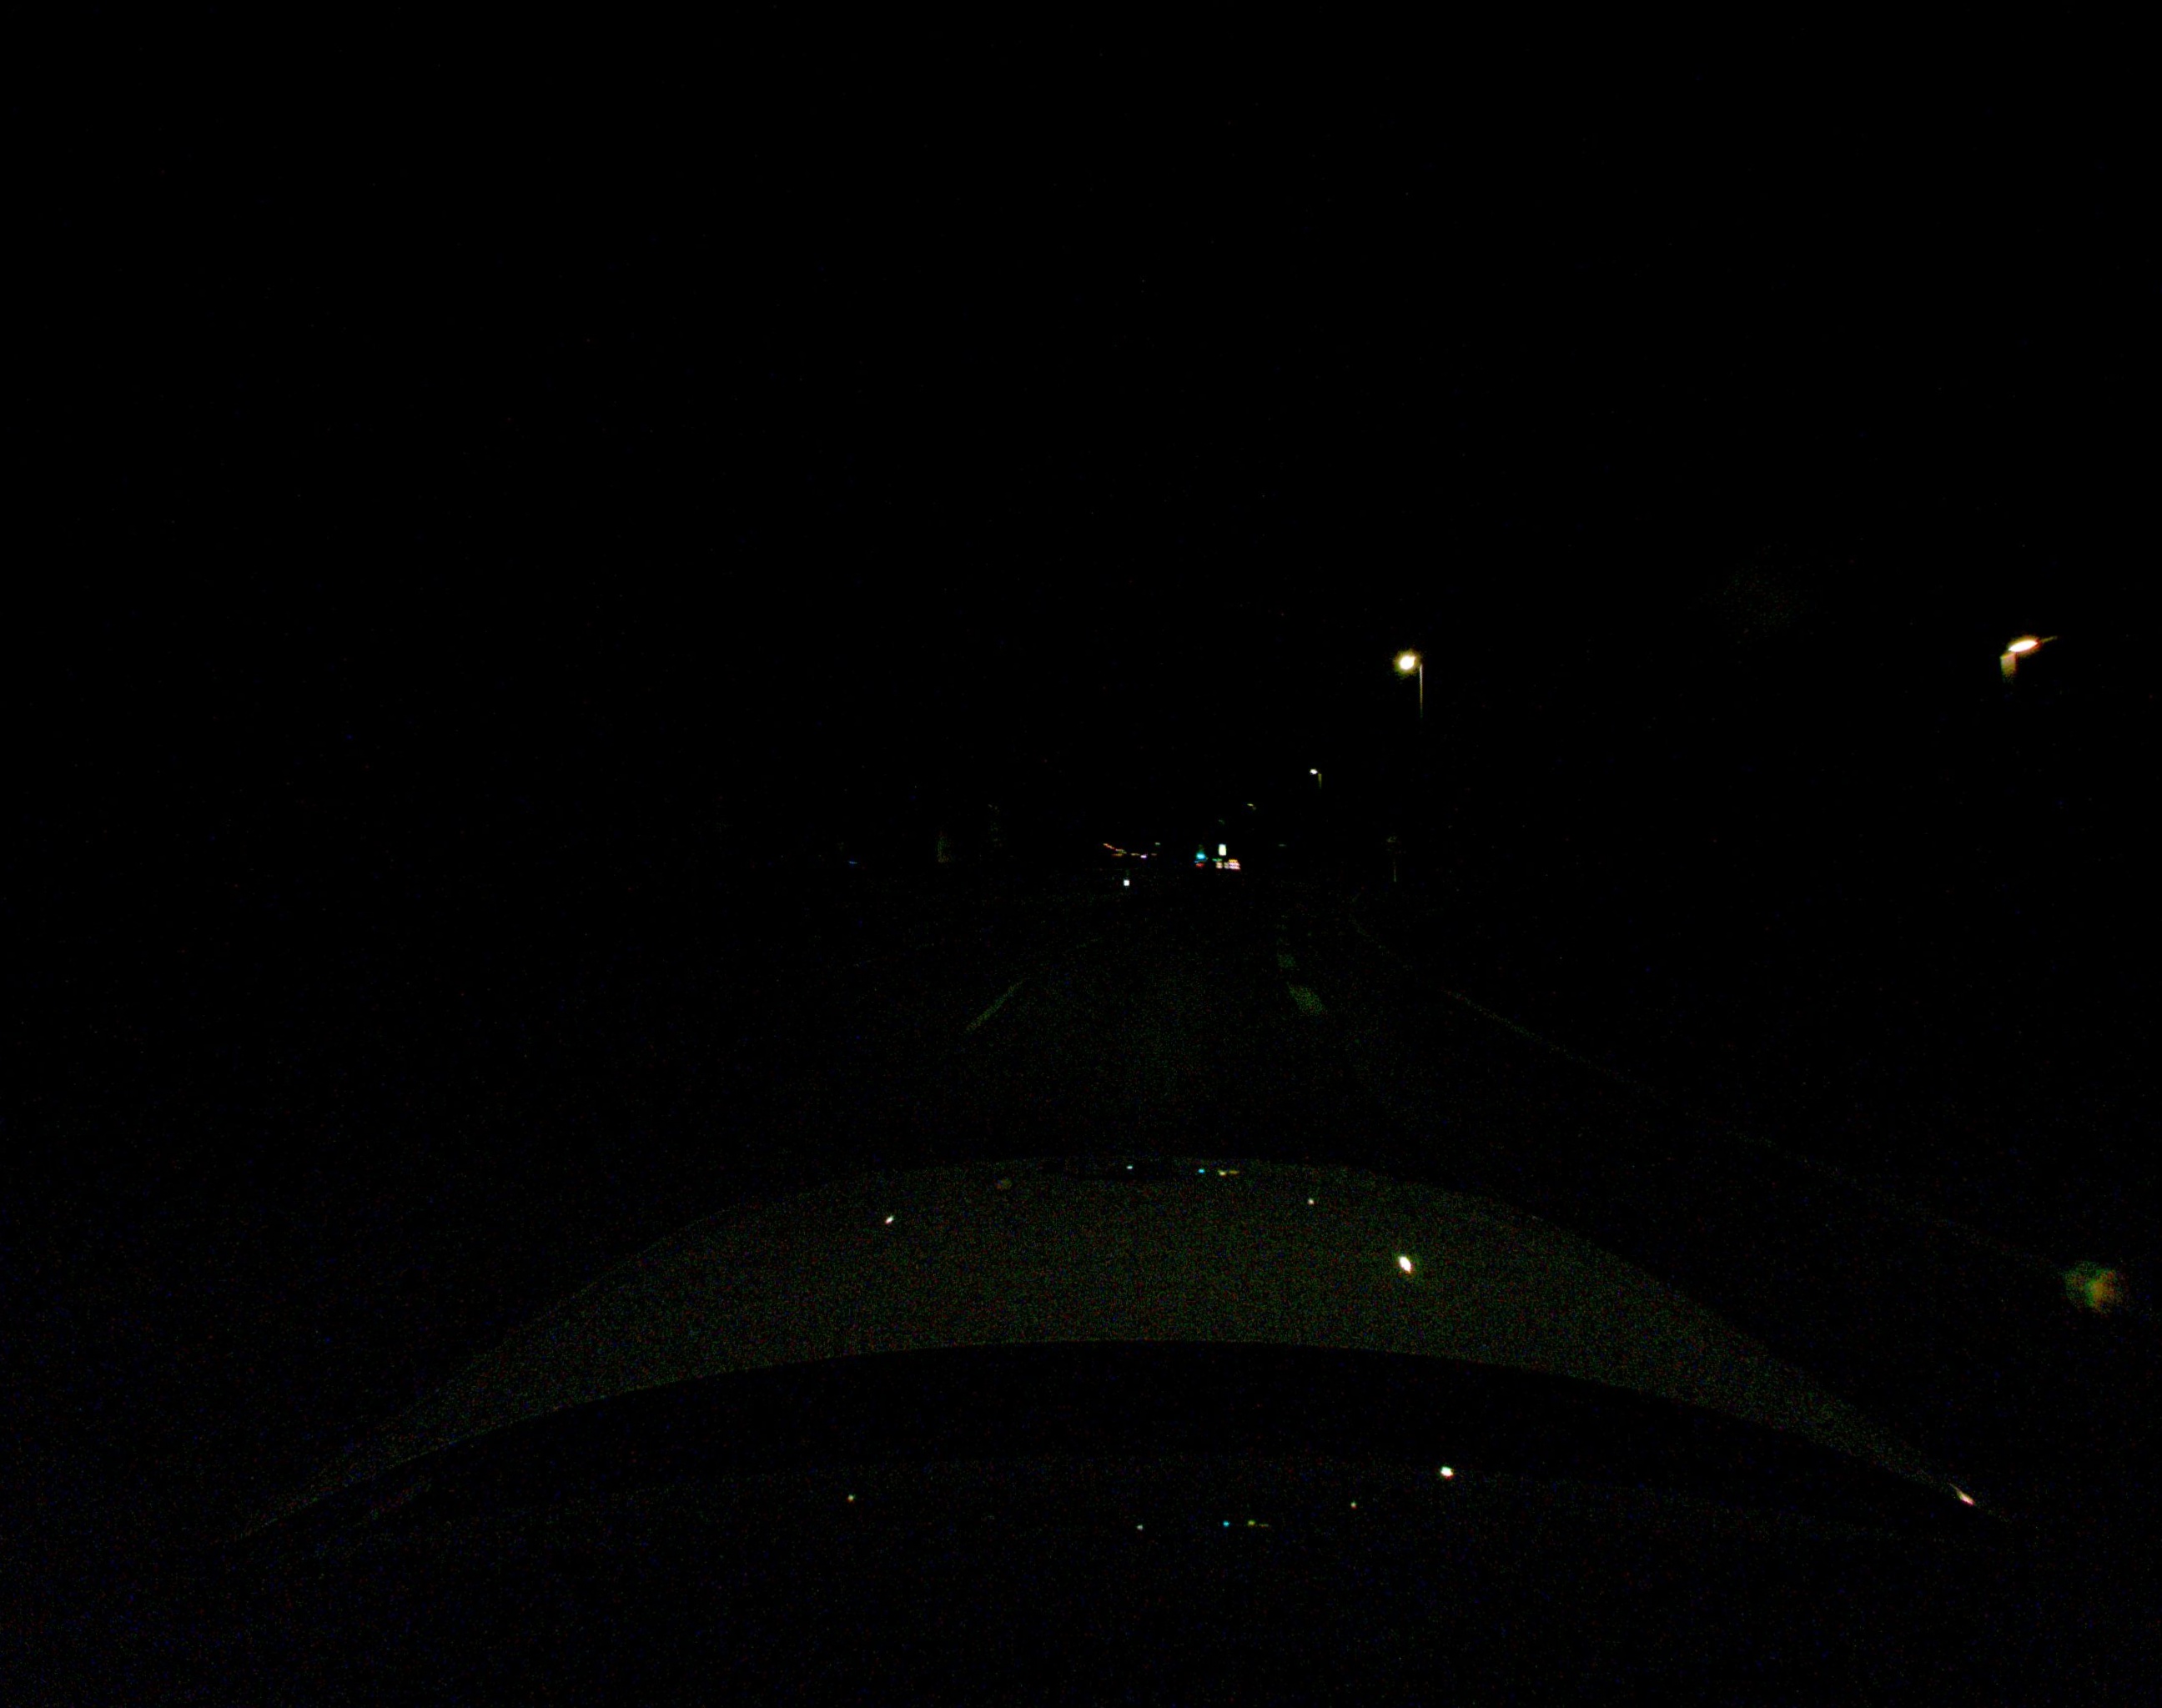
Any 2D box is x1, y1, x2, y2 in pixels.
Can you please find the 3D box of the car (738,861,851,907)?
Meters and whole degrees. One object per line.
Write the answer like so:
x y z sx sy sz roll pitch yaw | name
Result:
-10.812 1.121 30.755 3.682 1.627 1.792 -2 -1 19 | car

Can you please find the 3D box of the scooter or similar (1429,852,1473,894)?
11.656 0.587 25.691 0.610 1.281 1.689 -1 0 -1 | scooter or similar
